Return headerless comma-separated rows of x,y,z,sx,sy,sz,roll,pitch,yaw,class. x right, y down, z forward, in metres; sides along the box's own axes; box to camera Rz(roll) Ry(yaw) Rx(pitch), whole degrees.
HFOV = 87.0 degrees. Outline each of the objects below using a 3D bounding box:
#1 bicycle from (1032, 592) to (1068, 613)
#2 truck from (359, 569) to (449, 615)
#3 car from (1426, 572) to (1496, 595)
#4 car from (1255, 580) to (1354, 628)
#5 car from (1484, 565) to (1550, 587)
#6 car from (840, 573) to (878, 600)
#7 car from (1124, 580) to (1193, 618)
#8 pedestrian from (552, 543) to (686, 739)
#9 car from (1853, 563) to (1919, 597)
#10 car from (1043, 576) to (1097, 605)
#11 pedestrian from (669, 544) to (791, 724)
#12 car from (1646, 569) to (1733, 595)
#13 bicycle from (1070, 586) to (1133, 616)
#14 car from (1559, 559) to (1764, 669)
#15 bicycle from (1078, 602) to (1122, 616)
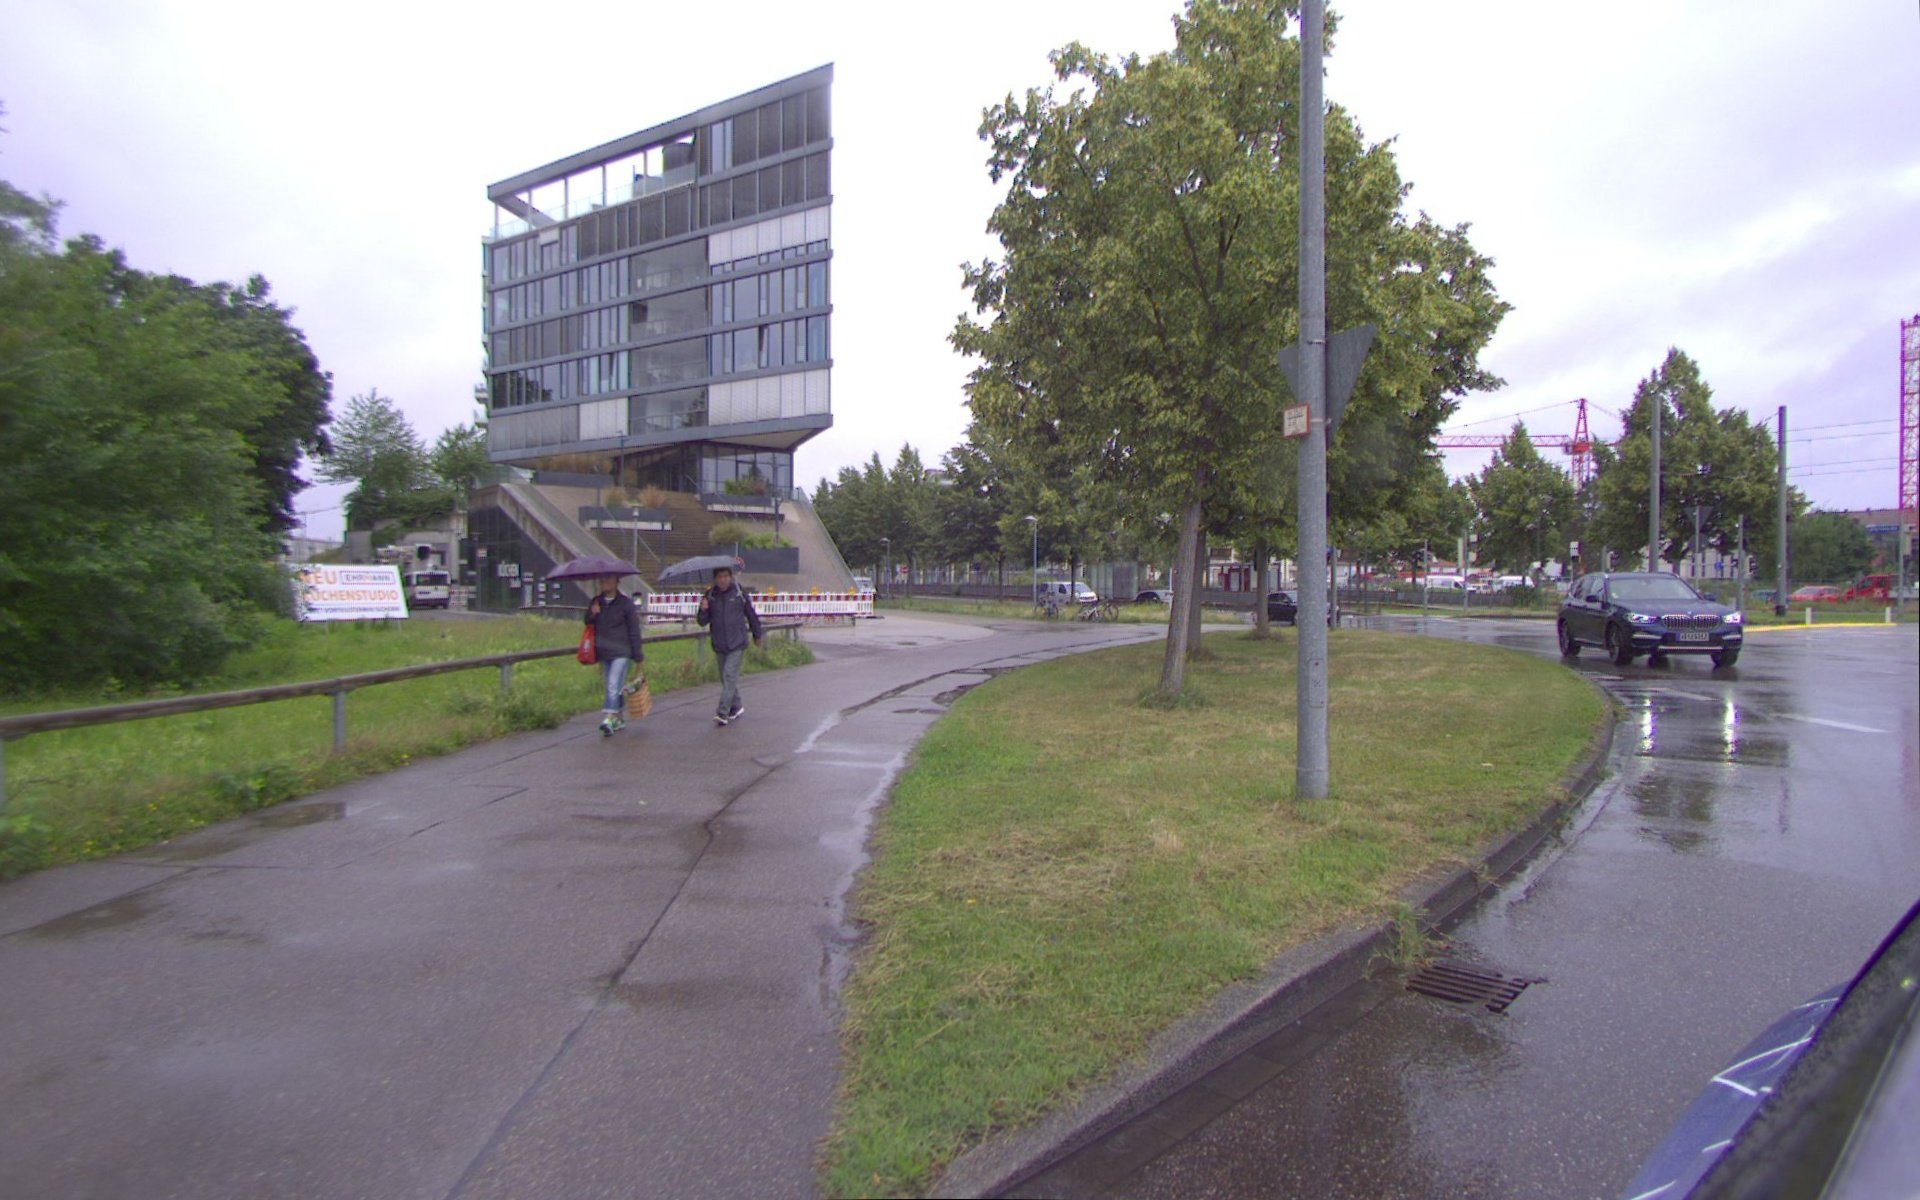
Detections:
3.905,0.109,44.010,0.623,0.857,2.168,-1,1,-22,bicycle
-34.109,-0.472,61.861,2.308,2.487,10.758,-4,3,-42,truck
59.280,-1.990,119.948,2.308,2.507,7.654,-3,2,-23,car
14.166,0.113,41.874,1.878,1.768,4.392,-3,2,-12,car
66.139,-2.837,120.314,2.450,2.507,6.850,-3,2,-23,car
-8.998,-1.239,89.662,2.043,2.228,5.108,-3,2,-19,car
10.235,-0.116,52.516,1.878,1.768,4.392,-3,2,-13,car
-3.336,0.364,9.925,0.918,1.806,0.798,-1,2,36,pedestrian
61.196,-1.295,64.432,2.309,2.038,6.440,-3,2,-9,car
6.797,-0.636,62.973,1.752,1.668,4.009,-3,2,-19,car
-2.449,0.331,10.785,0.918,1.806,0.798,-1,2,36,pedestrian
74.045,-1.854,102.840,2.311,2.507,6.840,-1,1,-33,car
5.838,0.053,41.834,2.495,1.204,0.549,-1,0,23,bicycle
12.951,0.164,19.023,1.892,1.768,4.361,-2,2,17,car
5.754,0.364,41.630,1.782,0.566,0.318,-1,0,23,bicycle
